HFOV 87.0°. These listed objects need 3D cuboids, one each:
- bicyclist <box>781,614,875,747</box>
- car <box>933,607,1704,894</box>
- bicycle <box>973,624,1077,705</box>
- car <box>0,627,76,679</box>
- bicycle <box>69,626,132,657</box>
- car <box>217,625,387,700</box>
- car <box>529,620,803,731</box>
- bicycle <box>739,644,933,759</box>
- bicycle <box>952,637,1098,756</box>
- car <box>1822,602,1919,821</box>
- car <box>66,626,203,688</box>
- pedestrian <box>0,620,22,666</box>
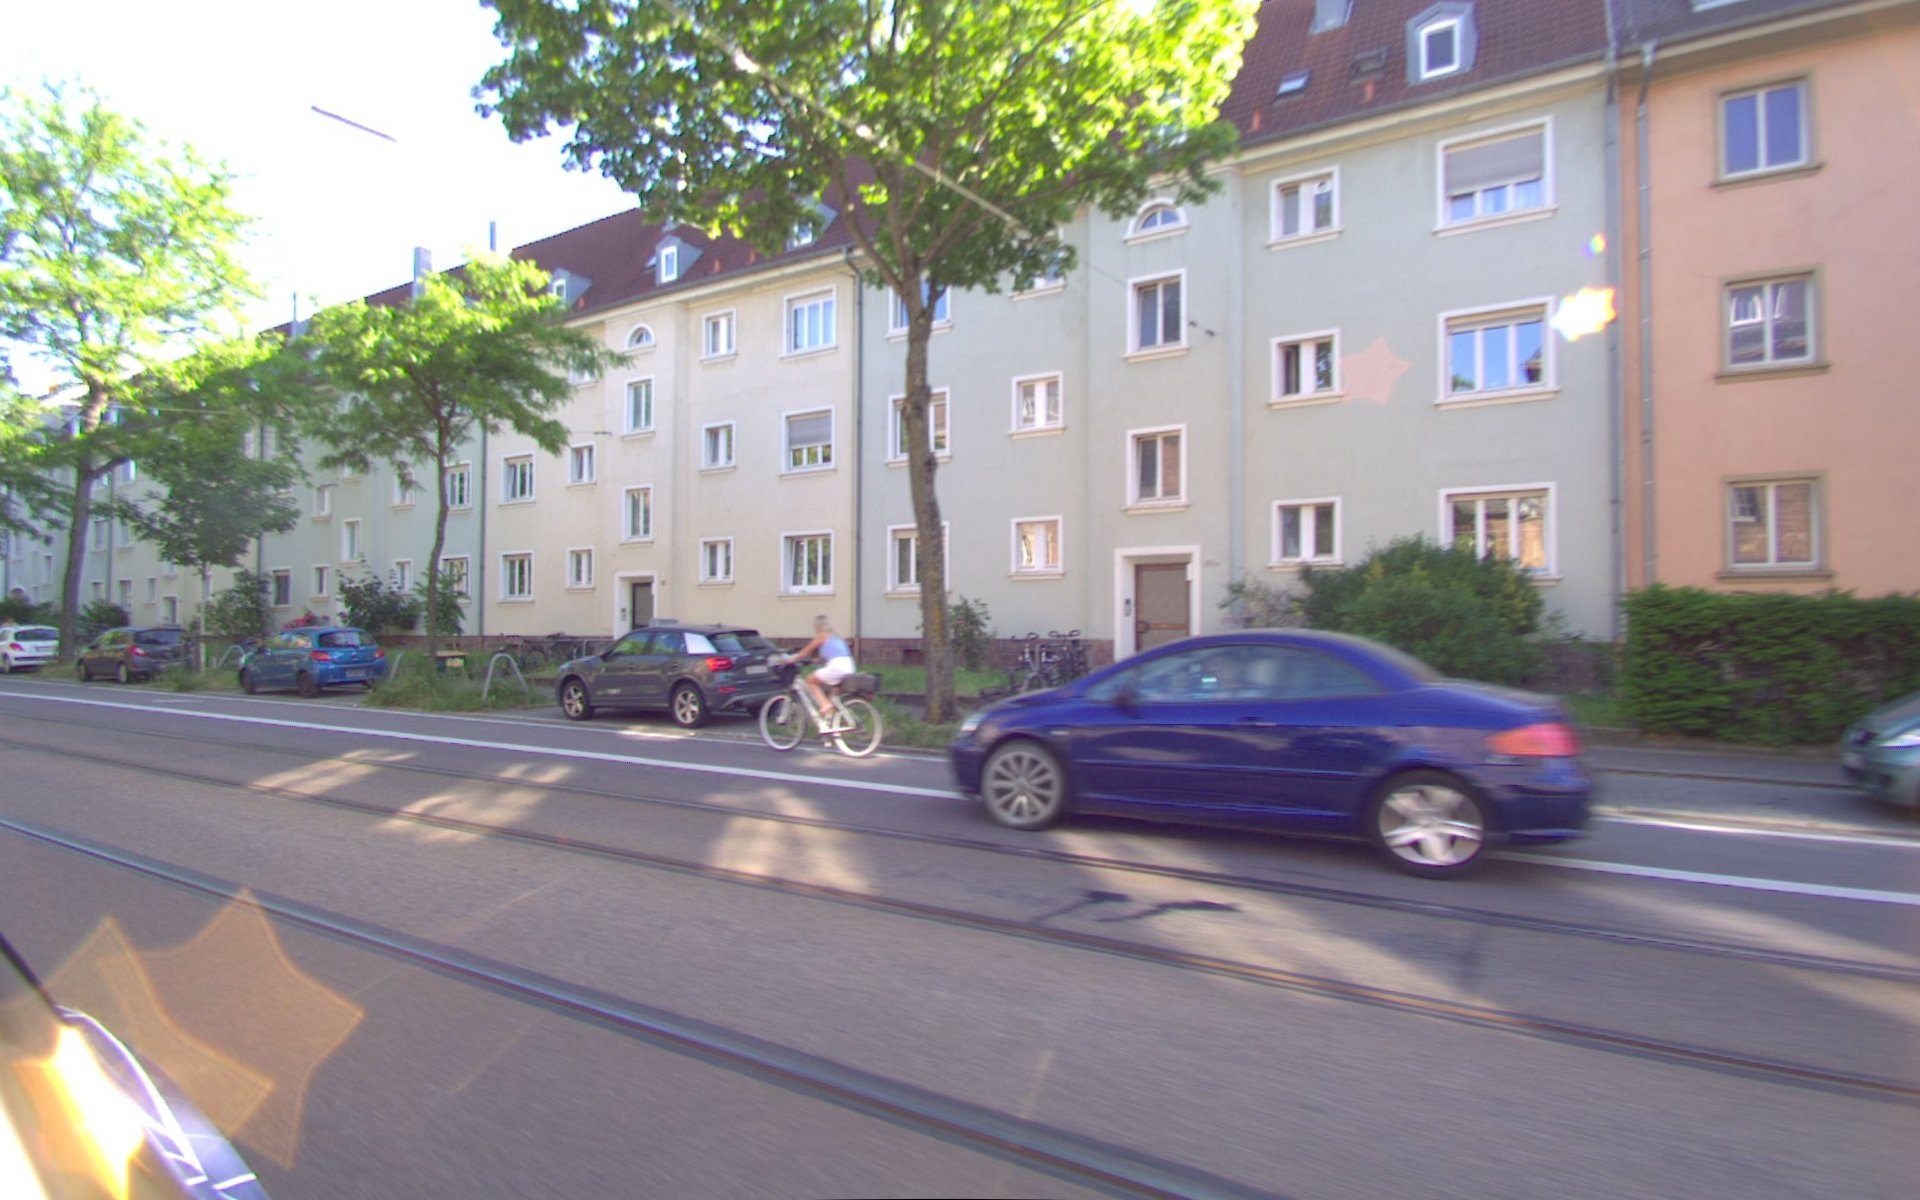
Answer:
[{"bbox_3d":[-1.503,0.910,11.586,0.866,1.468,0.554,-1,-5,29],"label":"bicyclist"},{"bbox_3d":[2.153,0.782,6.849,4.423,1.397,1.797,-1,-2,30],"label":"car"},{"bbox_3d":[1.150,1.073,17.400,0.559,1.207,2.262,-2,0,38],"label":"bicycle"},{"bbox_3d":[-30.135,1.648,32.366,4.065,1.496,1.690,-1,1,32],"label":"car"},{"bbox_3d":[-35.124,1.686,41.366,0.520,1.186,1.894,-1,0,29],"label":"bicycle"},{"bbox_3d":[-14.624,1.336,22.464,3.915,1.468,1.549,-1,1,30],"label":"car"},{"bbox_3d":[-4.750,1.111,16.179,4.308,1.501,1.733,-1,1,31],"label":"car"},{"bbox_3d":[-1.443,1.120,11.533,2.282,1.207,0.554,-1,-5,29],"label":"bicycle"},{"bbox_3d":[0.841,1.113,12.300,0.559,1.207,2.262,-2,0,38],"label":"bicycle"},{"bbox_3d":[9.143,0.804,7.377,4.052,1.581,1.734,-1,1,30],"label":"car"},{"bbox_3d":[-22.252,1.493,27.256,3.746,1.496,1.675,-1,1,31],"label":"car"},{"bbox_3d":[-37.585,1.686,39.872,0.810,1.815,0.686,-1,-2,32],"label":"pedestrian"}]
